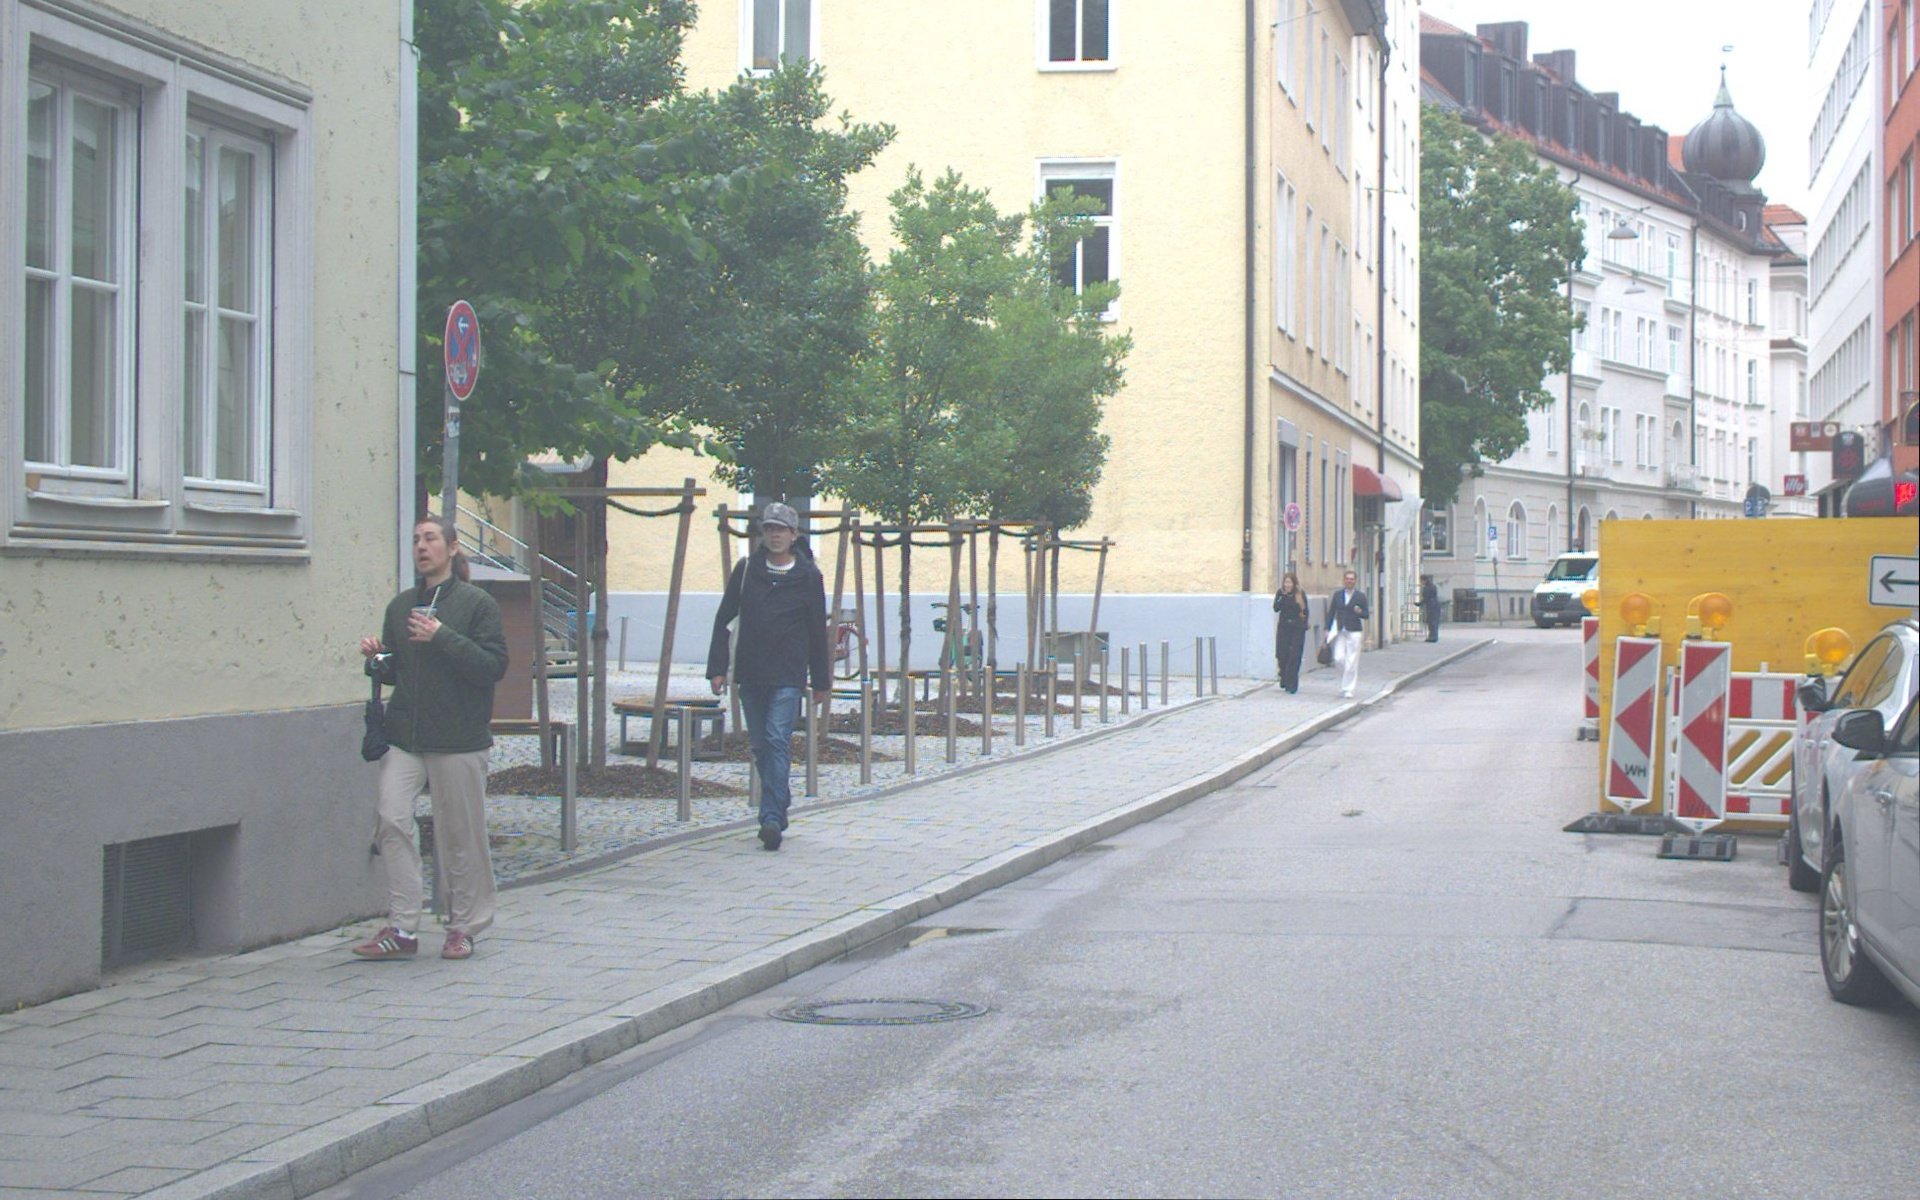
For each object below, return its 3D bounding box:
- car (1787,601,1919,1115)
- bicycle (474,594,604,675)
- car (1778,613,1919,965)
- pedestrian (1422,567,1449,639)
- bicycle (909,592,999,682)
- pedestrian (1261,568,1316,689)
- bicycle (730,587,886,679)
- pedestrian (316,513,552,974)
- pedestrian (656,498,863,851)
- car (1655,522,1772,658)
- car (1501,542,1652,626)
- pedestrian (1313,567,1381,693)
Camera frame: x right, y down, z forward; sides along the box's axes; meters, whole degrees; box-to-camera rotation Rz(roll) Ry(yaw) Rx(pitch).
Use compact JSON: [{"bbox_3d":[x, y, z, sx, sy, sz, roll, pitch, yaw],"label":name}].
[{"bbox_3d":[3.784,0.765,11.045,1.708,1.462,4.236,2,0,7],"label":"car"},{"bbox_3d":[-5.813,0.466,47.502,1.657,1.065,0.597,2,0,15],"label":"bicycle"},{"bbox_3d":[4.843,0.802,16.093,1.708,1.409,4.507,2,0,11],"label":"car"},{"bbox_3d":[11.107,0.068,80.334,0.516,1.669,0.636,1,0,2],"label":"pedestrian"},{"bbox_3d":[-0.066,0.469,44.829,0.510,1.141,2.050,2,0,19],"label":"bicycle"},{"bbox_3d":[4.529,0.387,47.357,0.670,1.642,0.761,1,0,10],"label":"pedestrian"},{"bbox_3d":[-2.083,0.443,47.042,2.045,1.193,0.569,1,0,18],"label":"bicycle"},{"bbox_3d":[-1.971,0.521,12.937,0.647,1.671,0.723,1,0,10],"label":"pedestrian"},{"bbox_3d":[-1.096,0.395,19.004,0.868,1.875,1.134,1,0,10],"label":"pedestrian"},{"bbox_3d":[14.701,-0.212,67.252,1.994,2.528,4.973,1,1,10],"label":"car"},{"bbox_3d":[18.233,-0.449,101.501,1.998,2.390,4.981,2,1,43],"label":"car"},{"bbox_3d":[5.303,0.407,47.046,0.839,1.695,0.802,1,0,11],"label":"pedestrian"}]
